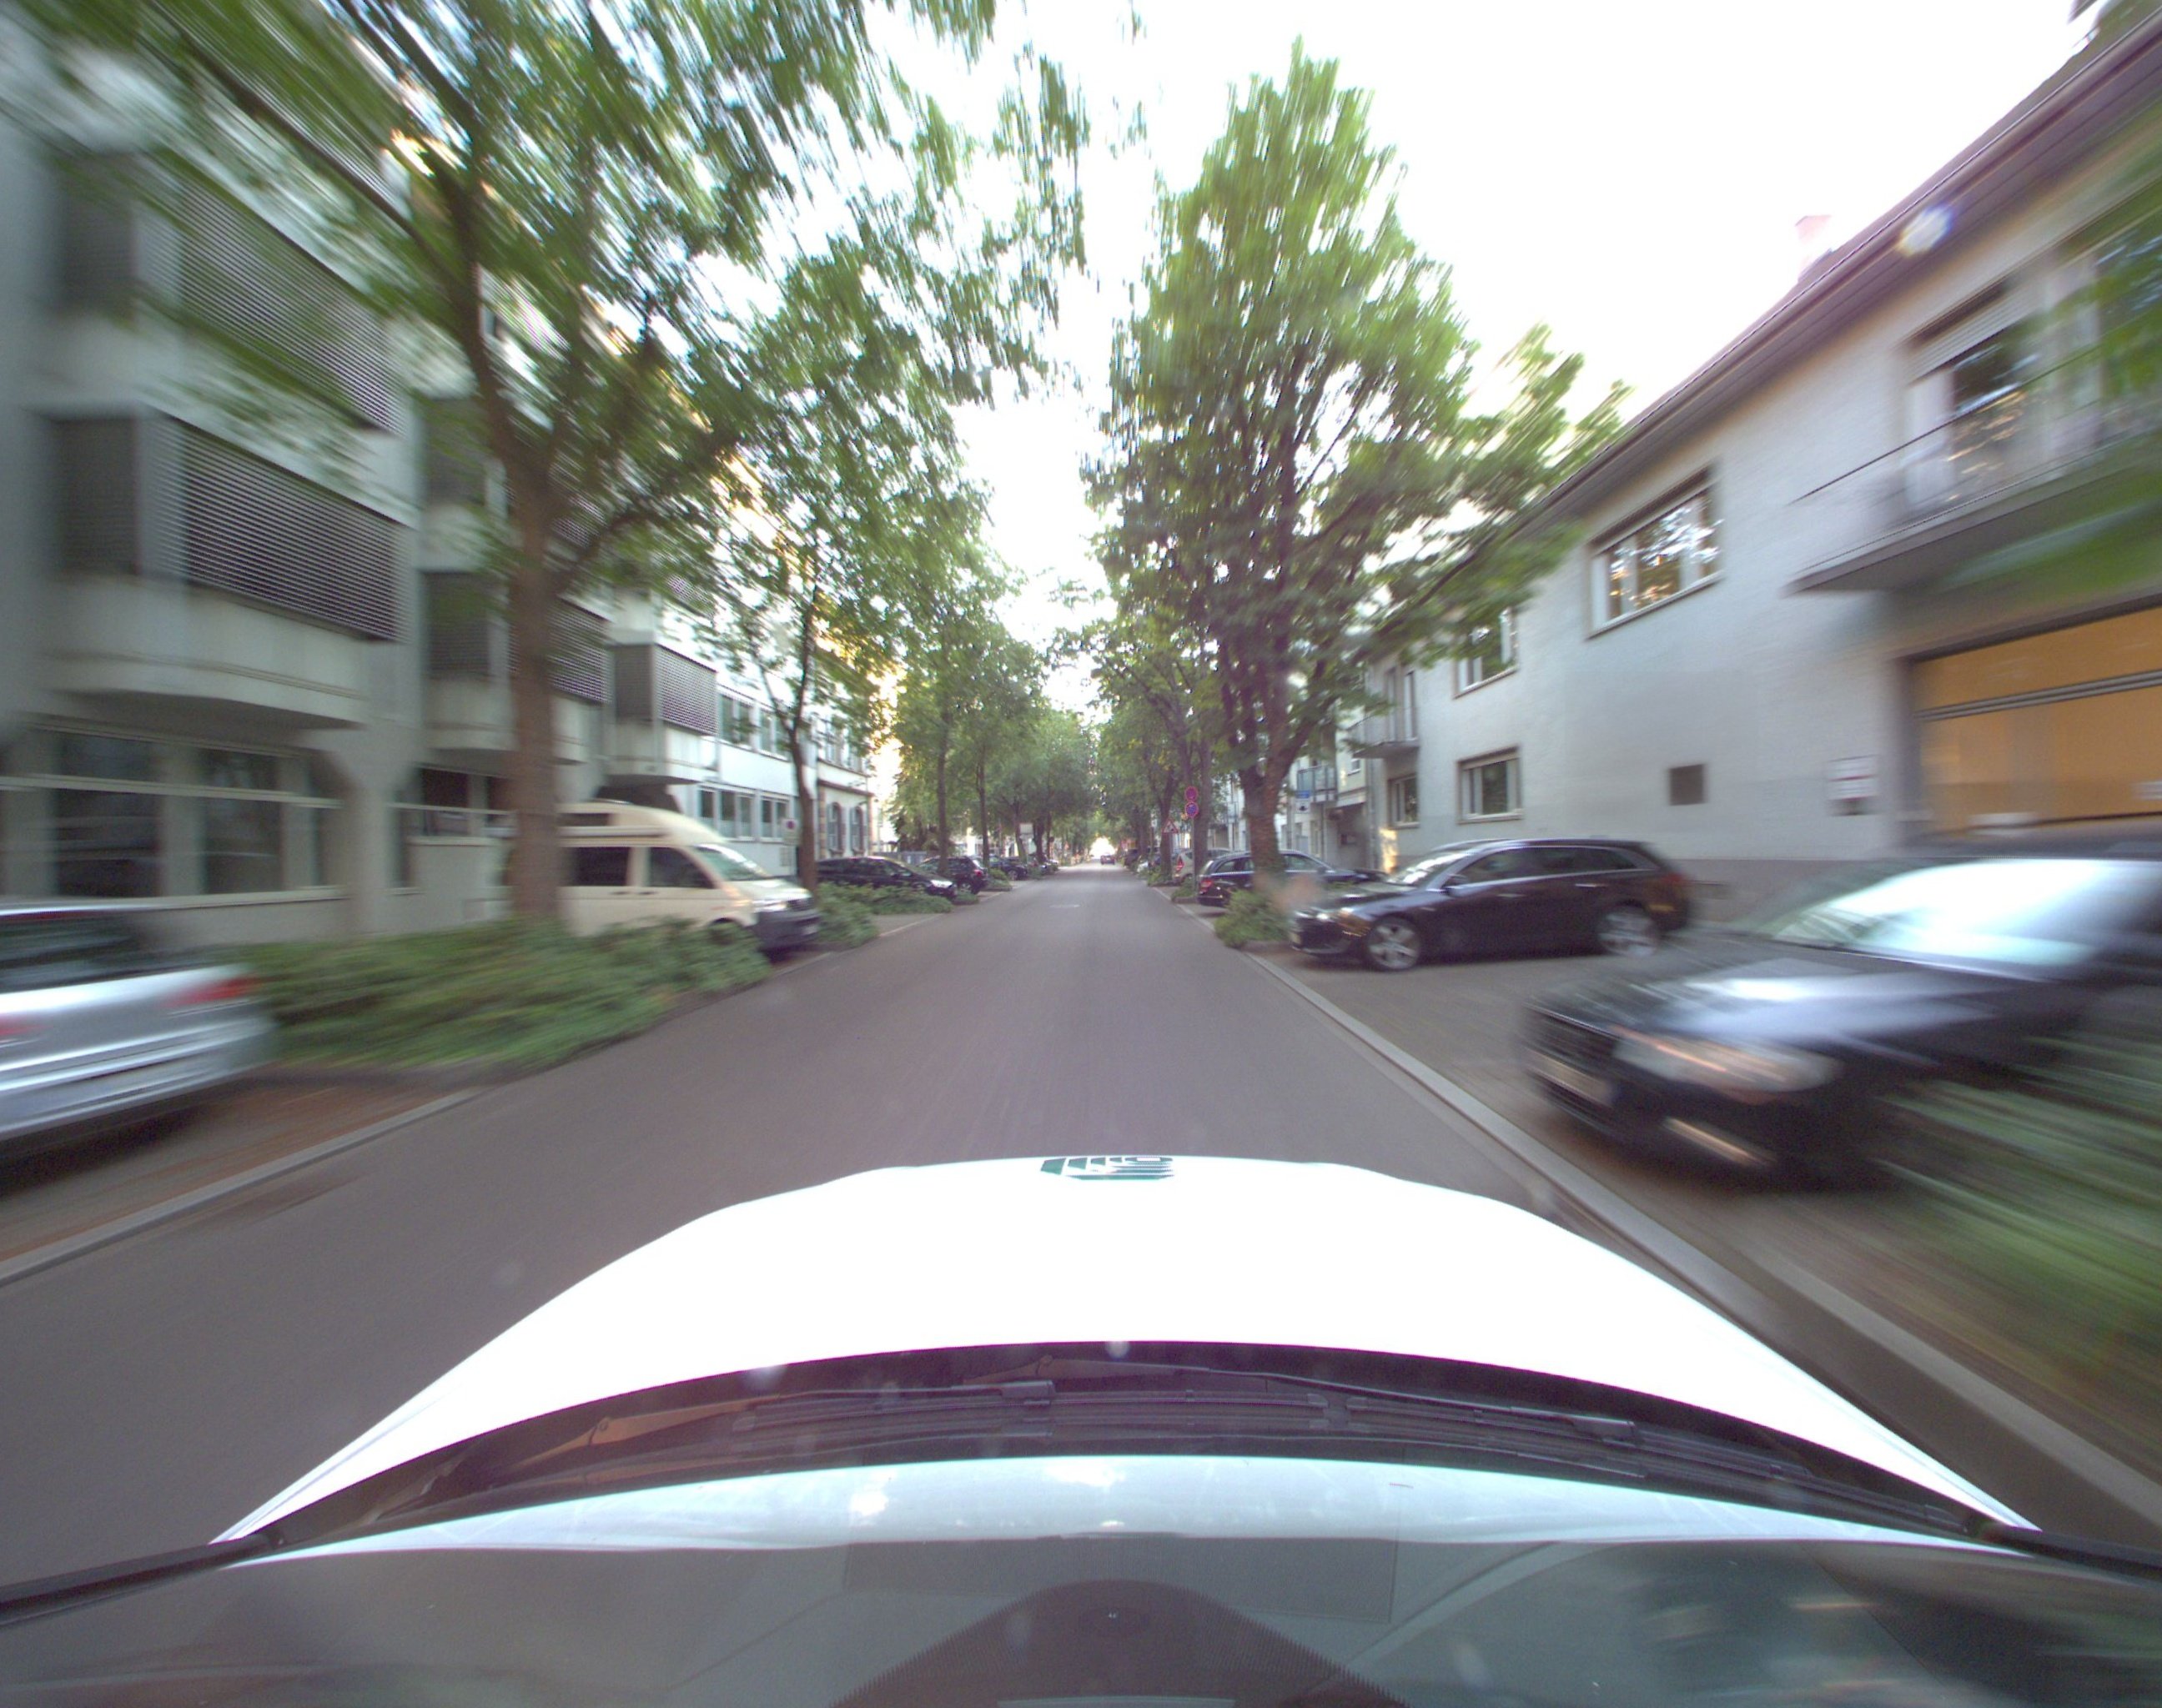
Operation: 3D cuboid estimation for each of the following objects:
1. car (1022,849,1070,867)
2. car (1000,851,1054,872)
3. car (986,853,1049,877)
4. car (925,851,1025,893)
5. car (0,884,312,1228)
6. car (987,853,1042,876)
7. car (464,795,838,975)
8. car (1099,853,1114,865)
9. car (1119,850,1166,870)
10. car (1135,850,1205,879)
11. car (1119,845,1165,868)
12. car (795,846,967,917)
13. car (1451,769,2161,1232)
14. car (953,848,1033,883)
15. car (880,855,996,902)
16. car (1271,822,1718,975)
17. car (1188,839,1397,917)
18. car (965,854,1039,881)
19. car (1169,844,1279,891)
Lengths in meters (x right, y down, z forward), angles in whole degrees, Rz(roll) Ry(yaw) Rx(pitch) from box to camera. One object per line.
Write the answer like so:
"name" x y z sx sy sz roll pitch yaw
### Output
"car" -3.549 0.424 83.255 4.745 1.630 1.963 -3 0 1
"car" -4.972 0.665 75.353 4.745 1.630 1.963 -3 0 1
"car" -4.986 0.835 64.716 4.745 1.630 1.963 -3 0 1
"car" -5.207 0.874 40.478 4.578 1.807 1.963 -3 0 1
"car" -6.763 0.955 4.271 3.854 1.486 1.758 -1 0 3
"car" -5.039 0.790 62.240 3.972 1.510 1.801 -3 0 1
"car" -6.435 0.440 12.605 4.665 2.478 2.001 -1 0 1
"car" 3.548 0.639 111.813 1.949 1.565 4.284 -3 0 2
"car" 5.707 0.529 75.719 4.253 1.565 1.963 -3 0 1
"car" 5.698 0.664 52.451 4.253 1.565 1.963 -3 0 1
"car" 5.848 0.206 78.274 4.253 1.962 1.963 -3 0 1
"car" -6.062 0.810 25.069 4.665 1.854 1.963 -3 0 1
"car" 4.583 0.514 3.948 4.698 1.710 1.951 -1 1 3
"car" -5.582 0.730 51.945 4.745 1.984 1.963 -3 0 1
"car" -5.702 0.956 32.789 4.188 1.635 1.963 -3 0 1
"car" 4.995 0.515 10.401 4.665 1.521 1.963 -3 0 1
"car" 4.863 0.548 19.319 4.487 1.521 1.998 -3 0 4
"car" -5.412 0.915 56.264 4.745 1.630 1.963 -3 0 1
"car" 5.626 0.509 32.423 4.036 1.597 1.825 -3 0 1
